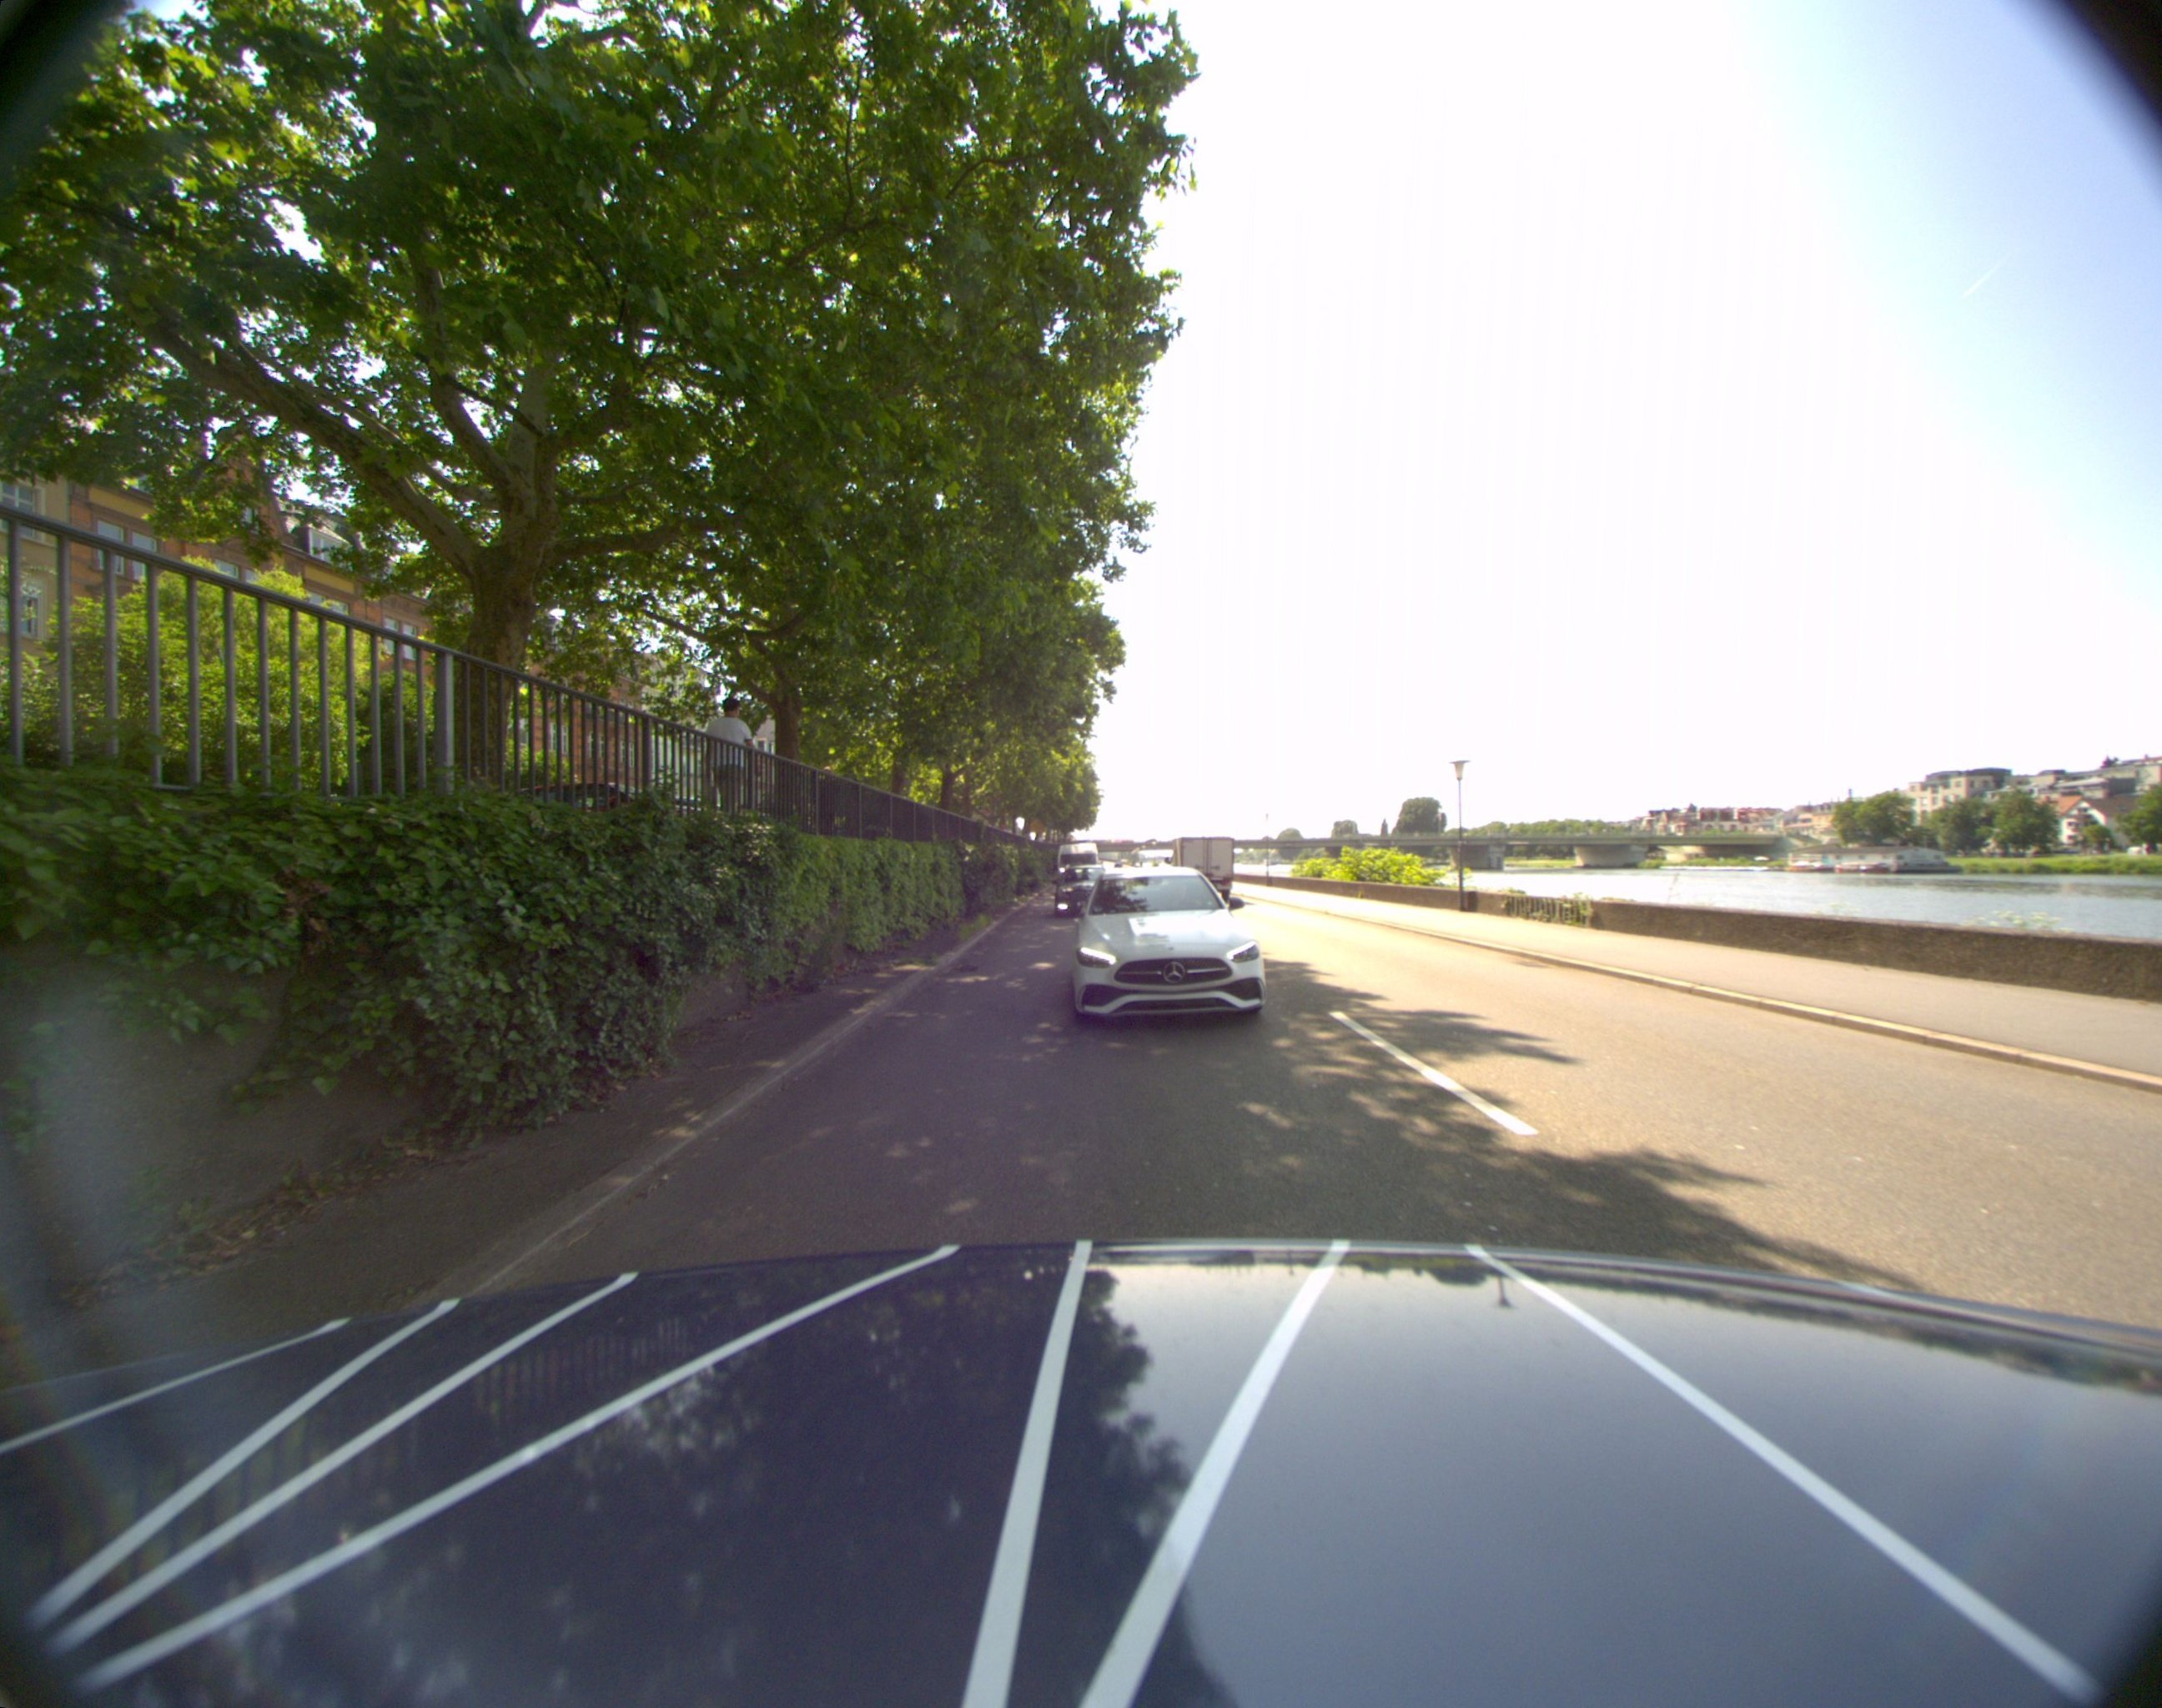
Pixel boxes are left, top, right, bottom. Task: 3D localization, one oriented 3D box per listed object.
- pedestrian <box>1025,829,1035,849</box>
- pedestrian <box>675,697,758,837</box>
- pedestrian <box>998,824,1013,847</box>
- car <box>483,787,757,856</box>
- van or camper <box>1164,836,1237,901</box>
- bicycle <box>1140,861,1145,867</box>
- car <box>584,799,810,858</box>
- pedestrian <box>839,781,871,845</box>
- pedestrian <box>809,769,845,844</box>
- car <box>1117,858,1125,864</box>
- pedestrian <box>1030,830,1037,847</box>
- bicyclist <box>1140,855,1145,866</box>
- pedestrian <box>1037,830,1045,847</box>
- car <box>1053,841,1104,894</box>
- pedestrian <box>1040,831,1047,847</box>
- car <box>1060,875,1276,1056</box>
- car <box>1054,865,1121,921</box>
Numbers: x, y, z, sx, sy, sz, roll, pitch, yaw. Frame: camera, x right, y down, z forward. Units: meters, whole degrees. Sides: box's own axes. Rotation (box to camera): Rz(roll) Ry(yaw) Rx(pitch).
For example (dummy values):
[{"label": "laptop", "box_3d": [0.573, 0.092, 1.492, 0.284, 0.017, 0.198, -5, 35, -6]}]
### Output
[{"label": "pedestrian", "box_3d": [-4.180, -1.210, 62.116, 0.738, 1.582, 0.811, 0, 0, 0]}, {"label": "pedestrian", "box_3d": [-4.312, -1.000, 9.032, 0.666, 1.582, 0.651, 0, 0, 0]}, {"label": "pedestrian", "box_3d": [-4.074, -1.000, 41.143, 0.713, 1.236, 0.742, 0, 0, 0]}, {"label": "car", "box_3d": [-7.905, -0.532, 13.293, 3.741, 1.108, 1.650, -1, 0, -3]}, {"label": "van or camper", "box_3d": [4.666, 0.553, 30.570, 2.082, 2.384, 5.385, 1, 0, 0]}, {"label": "bicycle", "box_3d": [9.842, 1.540, 120.906, 0.654, 0.977, 1.944, -1, 0, 1]}, {"label": "car", "box_3d": [-7.677, -0.489, 15.450, 3.740, 1.108, 1.650, -1, 0, -1]}, {"label": "pedestrian", "box_3d": [-5.088, -0.916, 17.121, 0.586, 1.411, 0.589, 0, 0, -8]}, {"label": "pedestrian", "box_3d": [-5.684, -1.043, 17.019, 0.649, 1.630, 0.626, 0, 0, -8]}, {"label": "car", "box_3d": [9.521, 1.575, 182.101, 1.676, 1.433, 3.901, -1, 0, 0]}, {"label": "pedestrian", "box_3d": [-4.595, -1.481, 73.710, 0.666, 1.582, 0.651, 0, 0, 0]}, {"label": "bicyclist", "box_3d": [9.825, 1.044, 120.895, 0.663, 1.692, 0.975, -1, 0, 0]}, {"label": "pedestrian", "box_3d": [-3.828, -1.479, 73.121, 0.738, 1.582, 0.811, 0, 0, 0]}, {"label": "car", "box_3d": [-0.124, 0.651, 38.634, 2.351, 2.428, 6.208, -1, 0, 0]}, {"label": "pedestrian", "box_3d": [-3.648, -1.464, 74.003, 0.666, 1.582, 0.765, 0, 0, 0]}, {"label": "car", "box_3d": [0.776, 1.030, 8.842, 1.830, 1.411, 4.552, -2, 0, 1]}, {"label": "car", "box_3d": [0.157, 1.091, 23.109, 1.756, 1.384, 4.619, -4, 0, -1]}]
